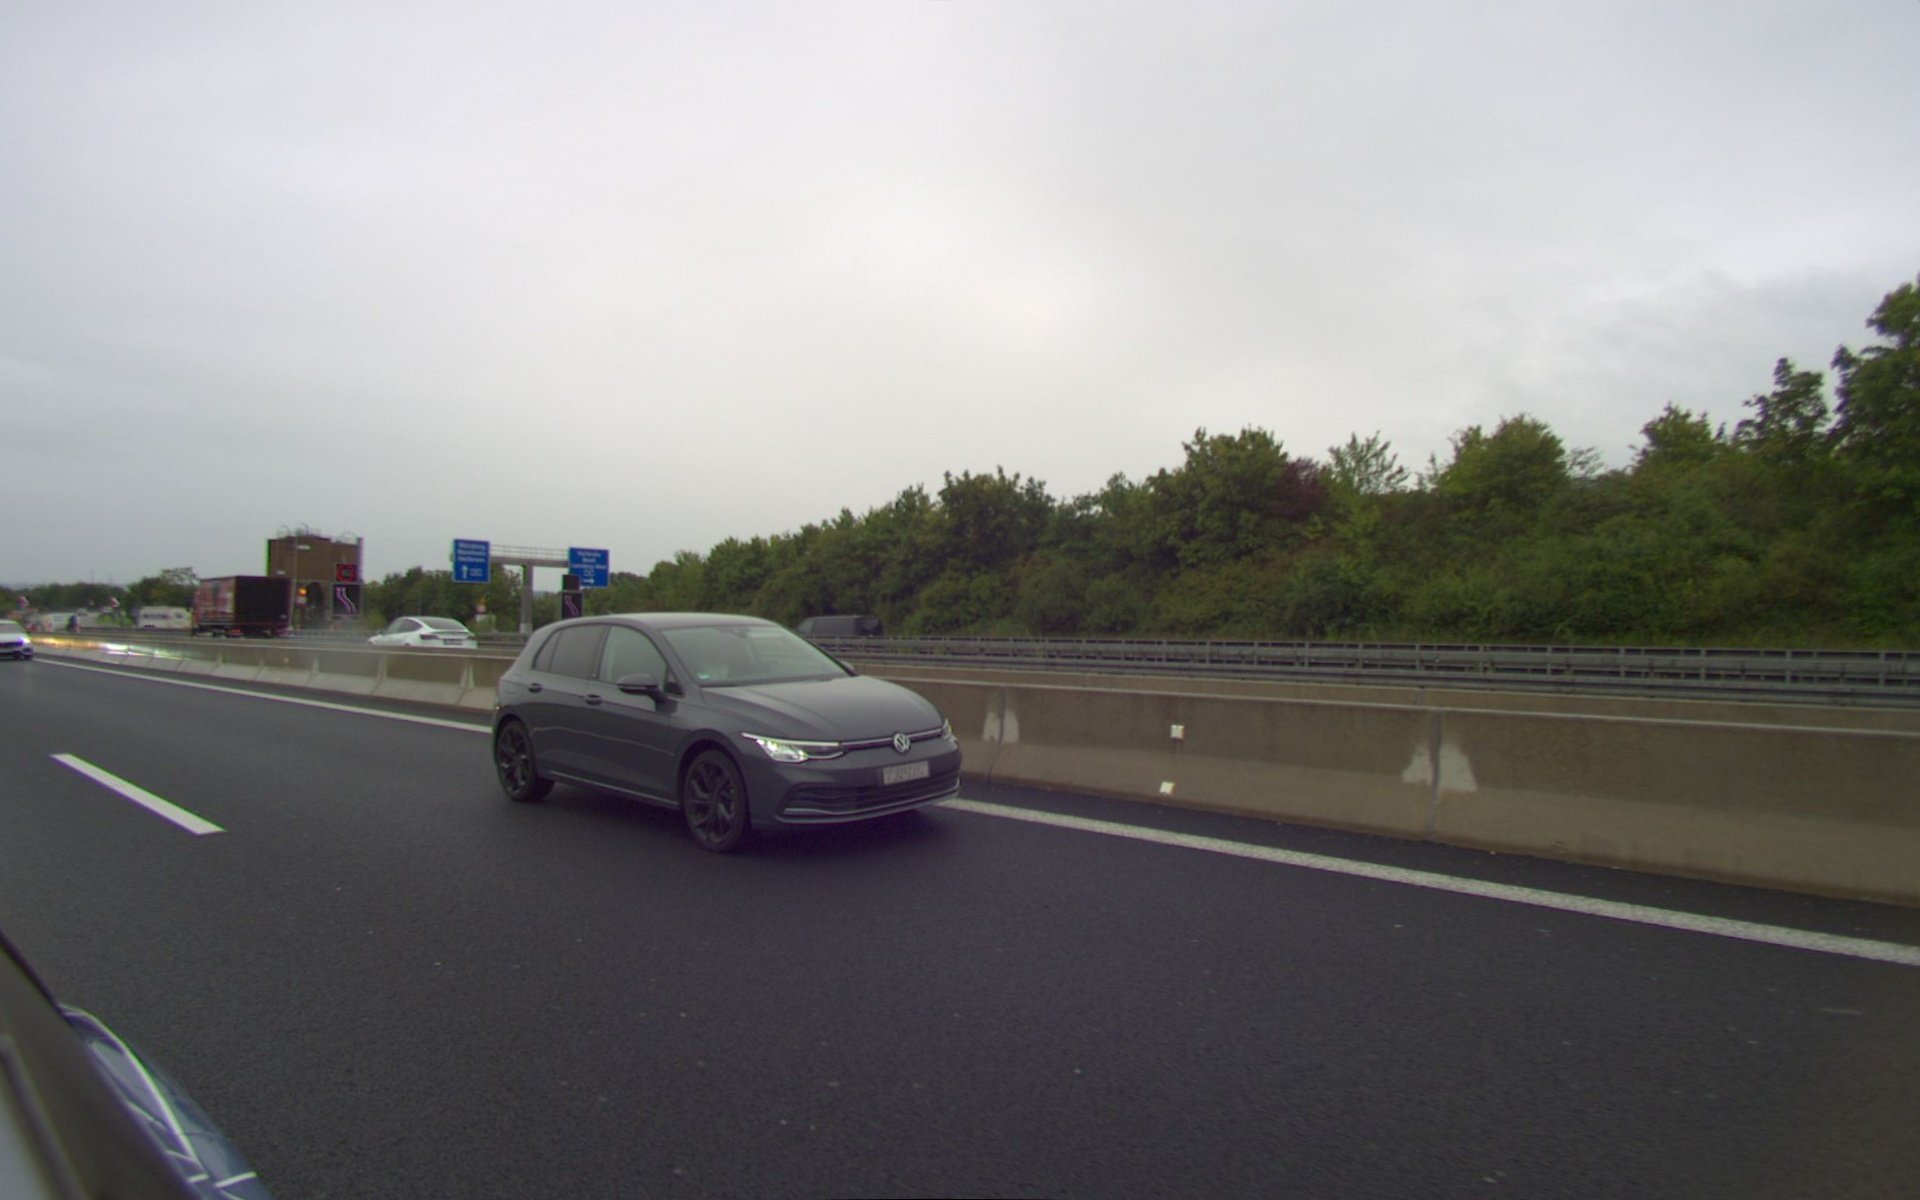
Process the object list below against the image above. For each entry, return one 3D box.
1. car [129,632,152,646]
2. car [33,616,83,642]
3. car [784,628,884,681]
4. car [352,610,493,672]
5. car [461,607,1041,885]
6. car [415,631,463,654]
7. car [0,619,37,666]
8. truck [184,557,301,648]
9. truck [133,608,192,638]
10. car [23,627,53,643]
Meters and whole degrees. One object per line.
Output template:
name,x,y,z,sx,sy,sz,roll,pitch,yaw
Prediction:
car,-101.011,4.790,124.735,4.047,1.495,1.555,-1,0,42
car,-66.515,2.128,74.564,5.217,1.877,1.973,-1,-3,40
car,-5.203,2.174,41.469,4.275,2.029,1.656,-1,-2,42
car,-16.787,1.238,31.533,4.955,1.779,2.135,-1,-1,39
car,-1.722,0.809,7.376,4.363,1.436,1.812,-2,-1,39
car,-34.599,2.787,67.188,3.998,1.409,1.507,-1,-1,41
car,-35.512,1.538,37.119,4.814,1.603,1.973,-1,-1,42
truck,-40.776,0.213,57.313,10.485,4.769,3.363,-1,-1,43
truck,-106.055,3.050,134.435,17.127,3.838,3.144,-1,-2,42
car,-95.438,3.645,104.717,4.579,1.564,1.706,-1,0,40
